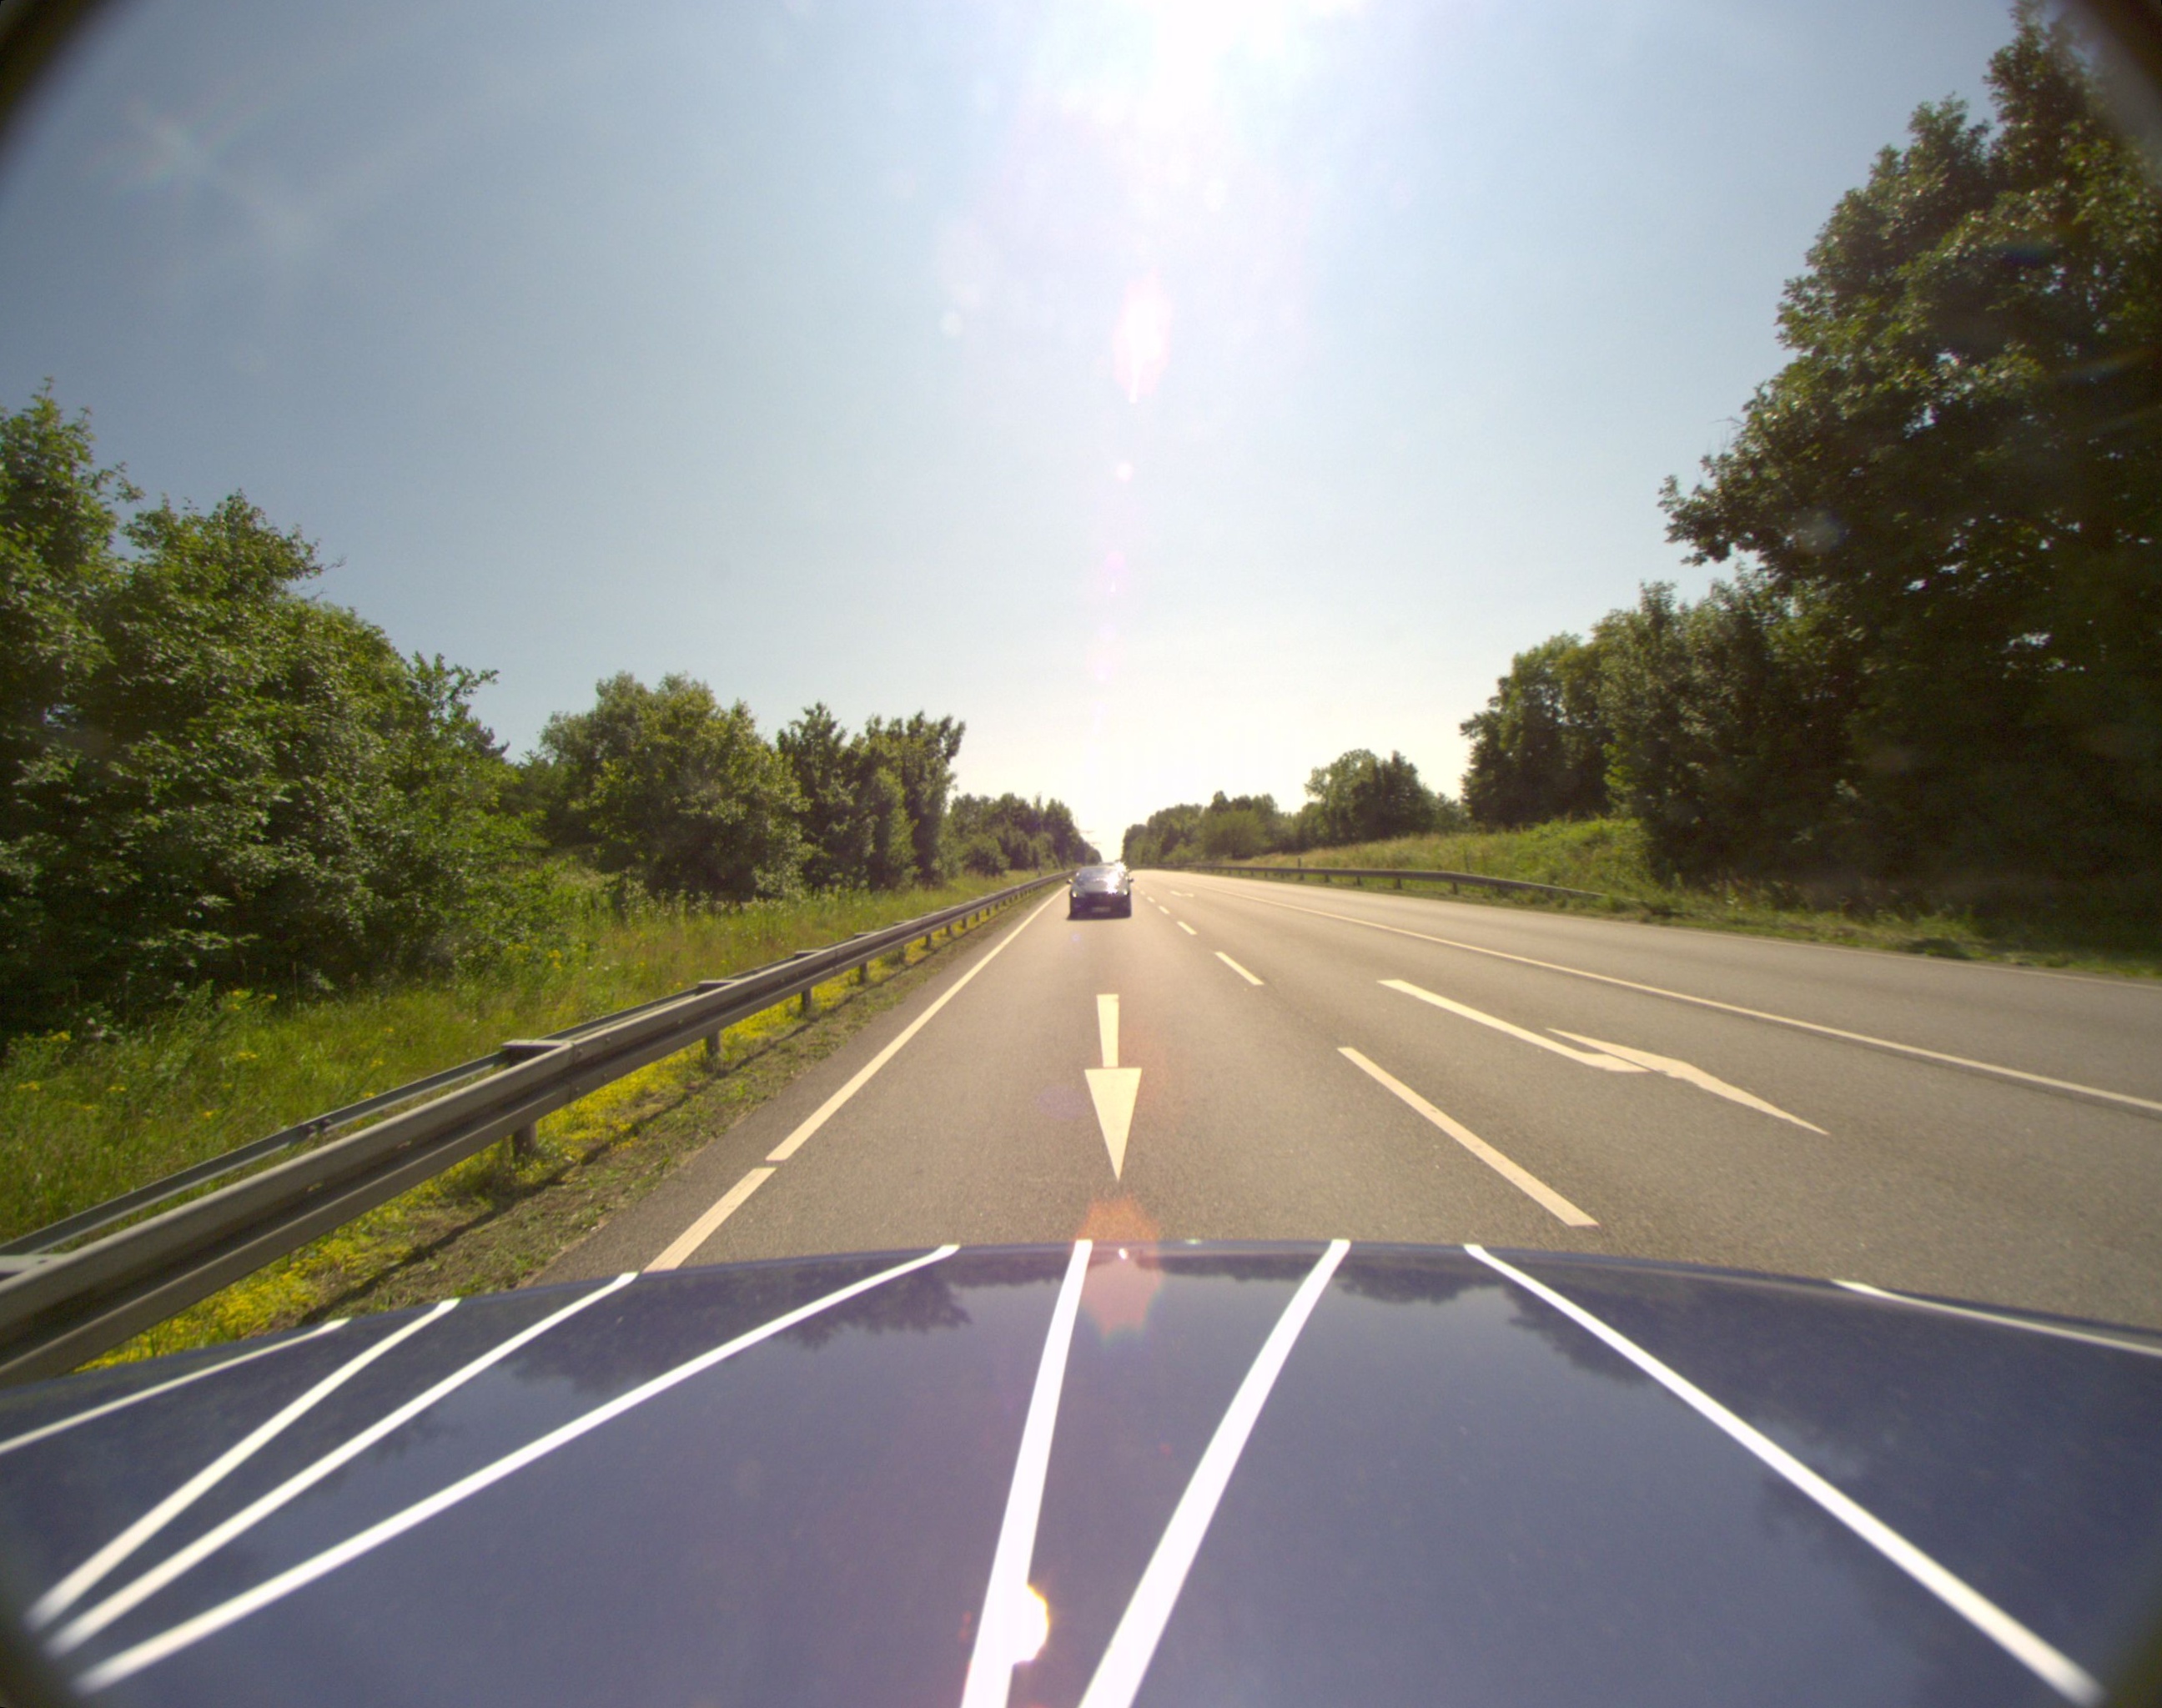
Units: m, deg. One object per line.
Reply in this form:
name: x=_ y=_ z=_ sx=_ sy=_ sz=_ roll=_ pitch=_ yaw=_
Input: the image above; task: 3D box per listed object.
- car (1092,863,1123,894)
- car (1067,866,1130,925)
car: x=1.303 y=1.203 z=38.456 sx=1.443 sy=1.443 sz=3.299 roll=-2 pitch=0 yaw=0
car: x=0.510 y=1.070 z=20.693 sx=1.529 sy=1.387 sz=3.444 roll=-2 pitch=0 yaw=2
